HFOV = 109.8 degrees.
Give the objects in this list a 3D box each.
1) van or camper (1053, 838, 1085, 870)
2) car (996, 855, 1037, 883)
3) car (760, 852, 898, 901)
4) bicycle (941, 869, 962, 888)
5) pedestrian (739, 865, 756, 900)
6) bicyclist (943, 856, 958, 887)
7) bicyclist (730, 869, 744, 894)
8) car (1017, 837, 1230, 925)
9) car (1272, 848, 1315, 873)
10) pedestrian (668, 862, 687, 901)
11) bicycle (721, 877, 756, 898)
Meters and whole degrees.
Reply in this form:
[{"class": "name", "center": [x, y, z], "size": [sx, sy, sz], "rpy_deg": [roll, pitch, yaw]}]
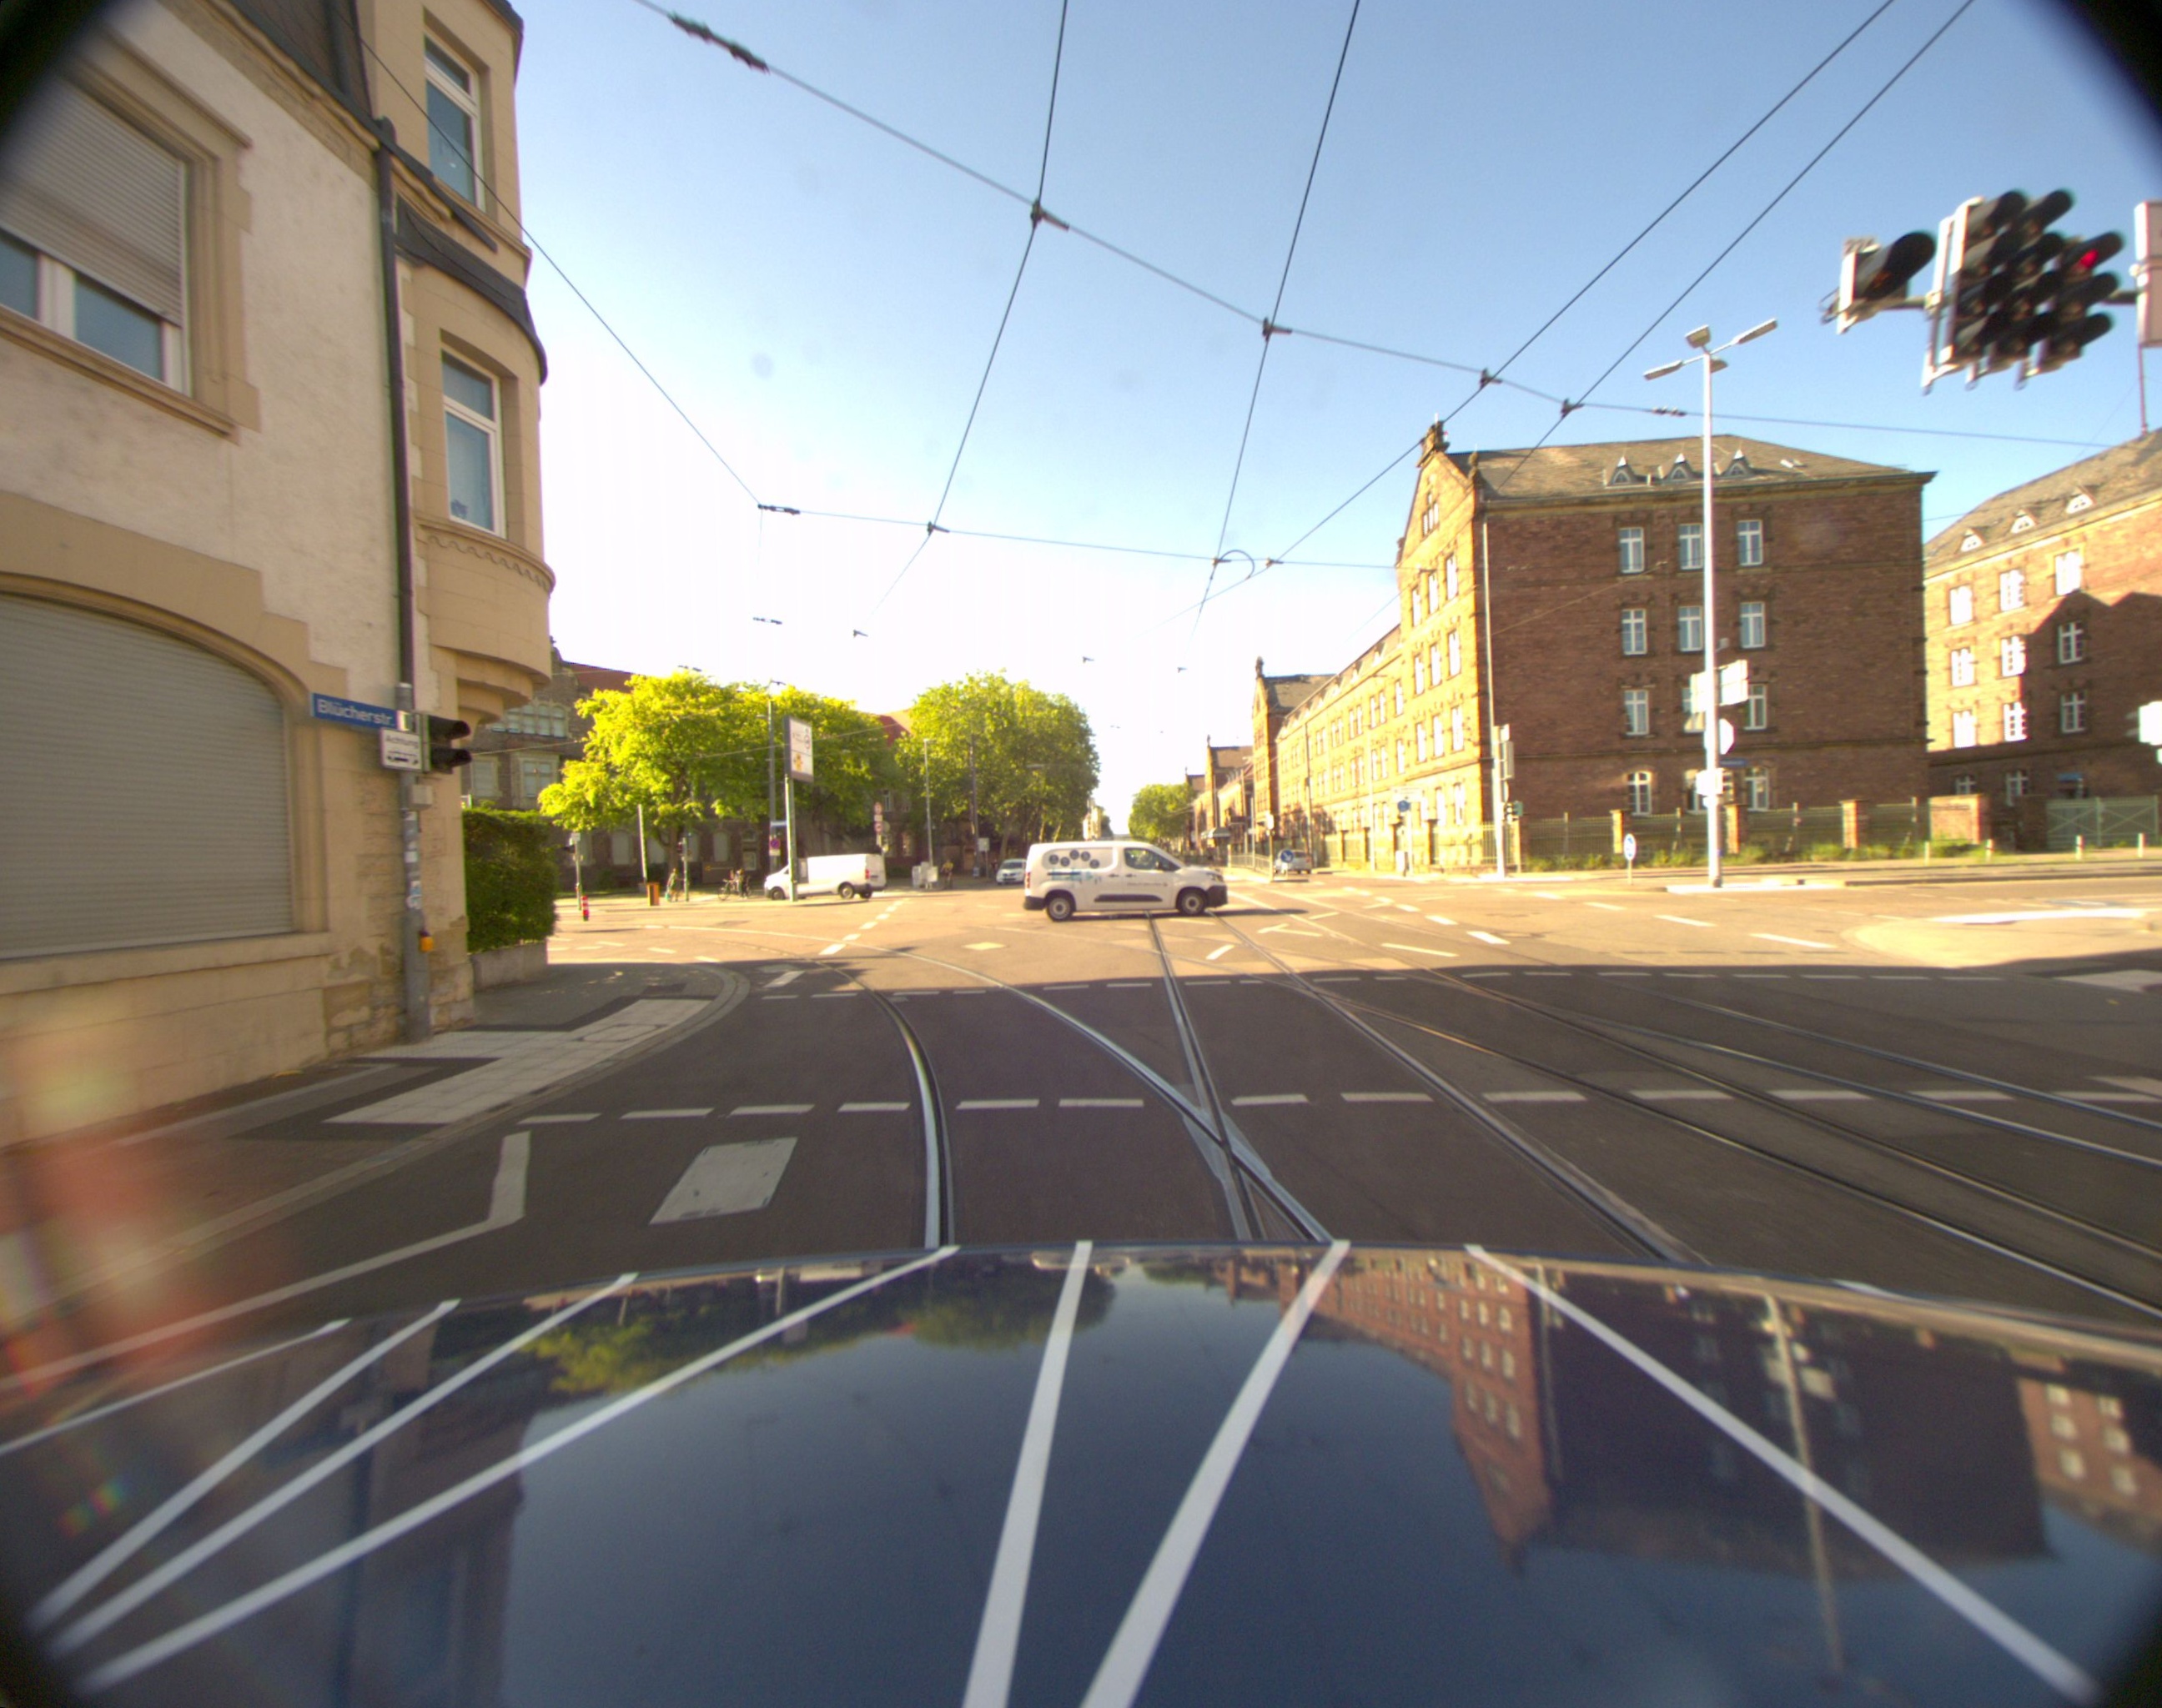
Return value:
[{"class": "van or camper", "center": [-0.916, 0.049, 59.558], "size": [1.998, 2.346, 5.601], "rpy_deg": [-2, -1, 3]}, {"class": "car", "center": [-4.103, 0.950, 48.888], "size": [1.911, 1.608, 4.573], "rpy_deg": [-3, -1, 3]}, {"class": "car", "center": [-11.032, 0.980, 33.427], "size": [5.294, 1.917, 2.167], "rpy_deg": [-2, 0, 10]}, {"class": "bicycle", "center": [-7.421, 1.406, 43.591], "size": [0.690, 1.027, 2.100], "rpy_deg": [-2, -2, 3]}, {"class": "pedestrian", "center": [-17.059, 1.437, 38.877], "size": [0.670, 1.736, 0.485], "rpy_deg": [-2, 1, -17]}, {"class": "bicyclist", "center": [-7.448, 1.015, 43.376], "size": [0.669, 1.718, 0.623], "rpy_deg": [-2, -2, 3]}, {"class": "bicyclist", "center": [-18.063, 1.421, 39.885], "size": [0.620, 1.277, 0.478], "rpy_deg": [-3, 1, -26]}, {"class": "car", "center": [0.986, 0.597, 17.902], "size": [4.693, 1.789, 1.858], "rpy_deg": [-2, 3, 2]}, {"class": "car", "center": [13.029, 0.387, 46.865], "size": [1.740, 1.434, 4.116], "rpy_deg": [-2, 0, 4]}, {"class": "pedestrian", "center": [-20.931, 1.424, 39.420], "size": [0.698, 1.943, 0.485], "rpy_deg": [-2, 1, -17]}, {"class": "bicycle", "center": [-17.989, 1.751, 39.906], "size": [1.595, 0.991, 0.478], "rpy_deg": [-3, 1, -26]}]
